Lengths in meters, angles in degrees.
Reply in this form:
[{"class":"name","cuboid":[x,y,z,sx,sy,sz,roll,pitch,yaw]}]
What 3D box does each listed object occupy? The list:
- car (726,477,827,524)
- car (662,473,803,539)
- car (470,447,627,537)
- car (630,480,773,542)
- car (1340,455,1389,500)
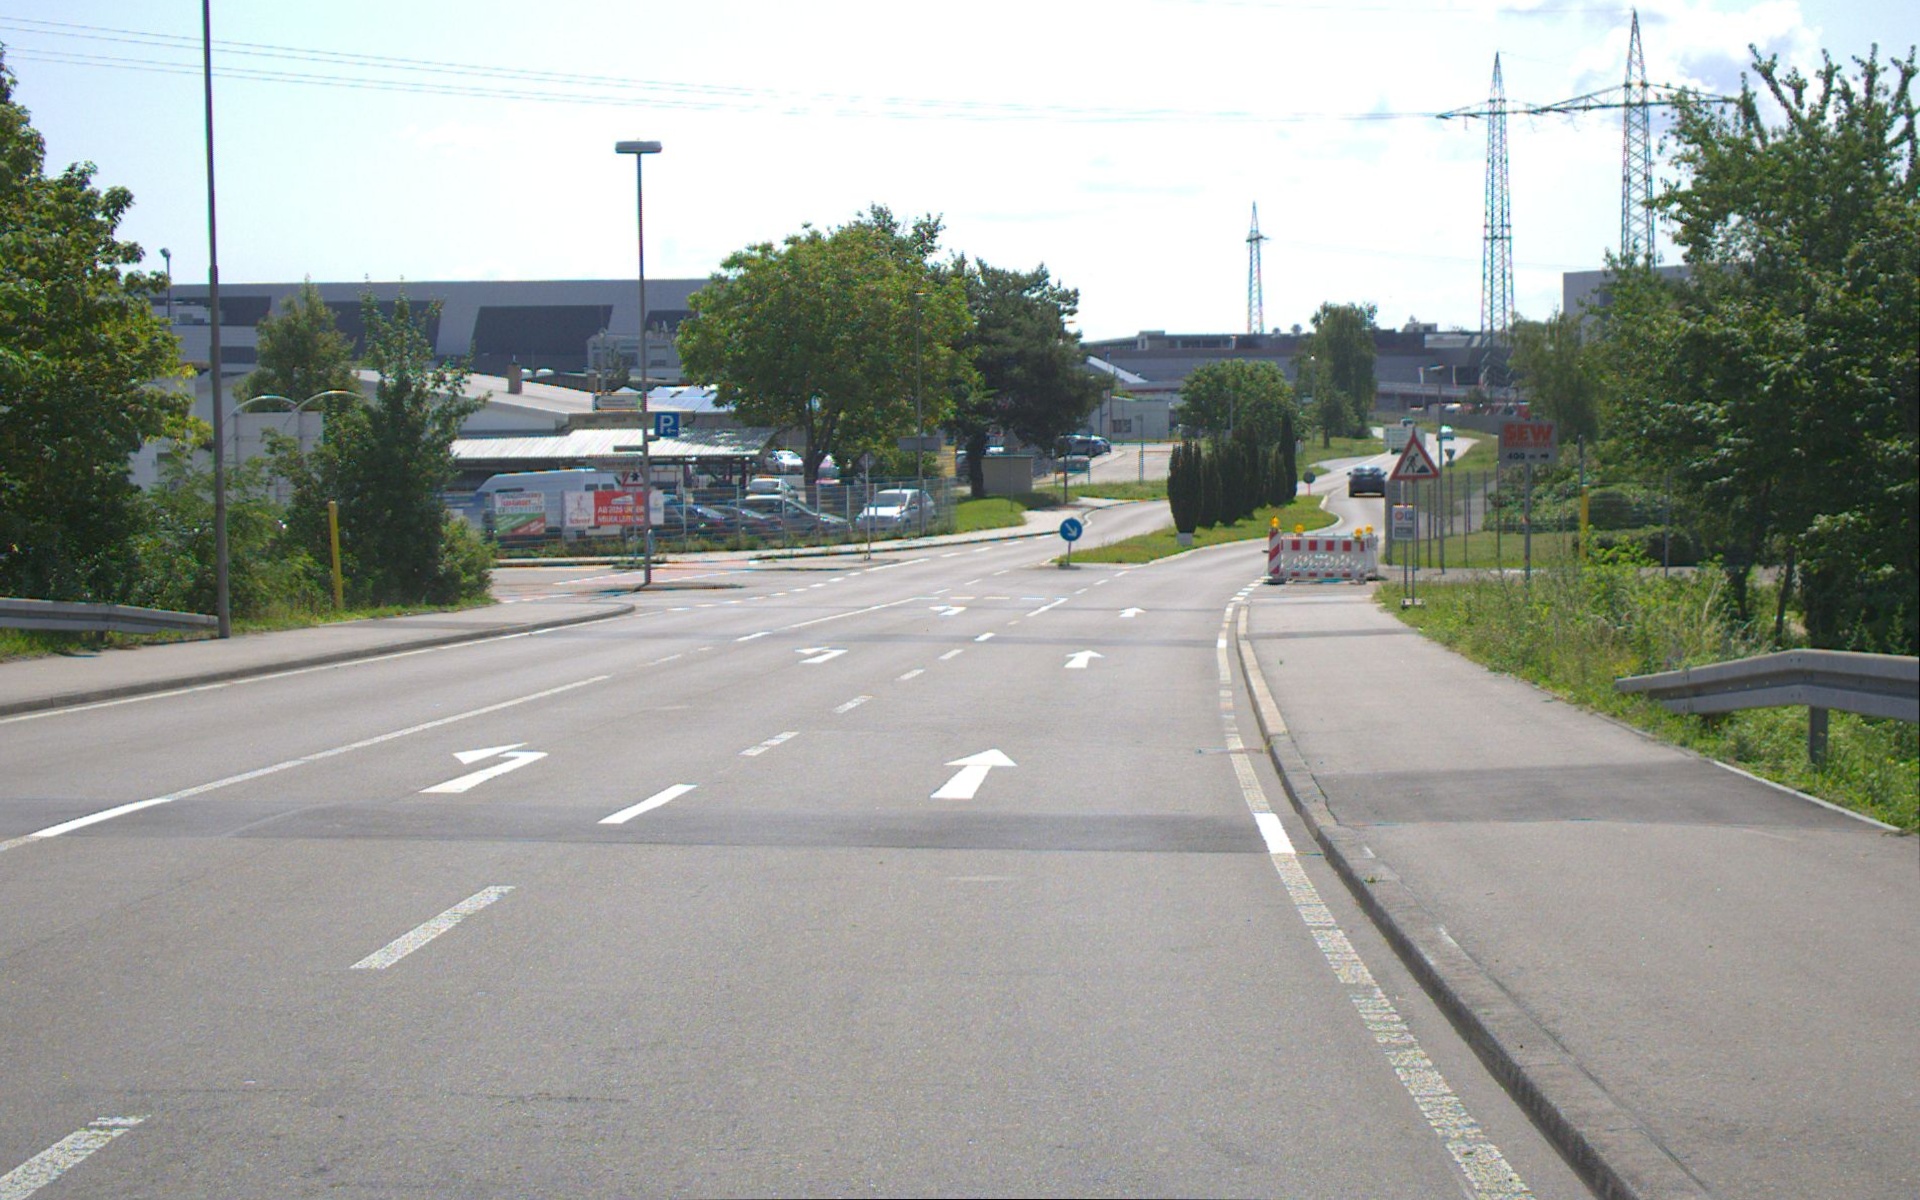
[{"class":"car","cuboid":[-7.493,-4.065,140.184,3.986,1.843,1.835,0,2,-6]},{"class":"car","cuboid":[-7.119,-2.956,107.675,3.994,1.897,1.997,3,4,32]},{"class":"car","cuboid":[-12.224,-3.201,102.053,4.359,2.599,1.996,1,2,34]},{"class":"car","cuboid":[-7.959,-2.759,105.861,3.994,1.774,1.997,2,4,31]},{"class":"car","cuboid":[19.934,-6.056,169.460,2.272,1.939,4.665,3,5,7]}]
